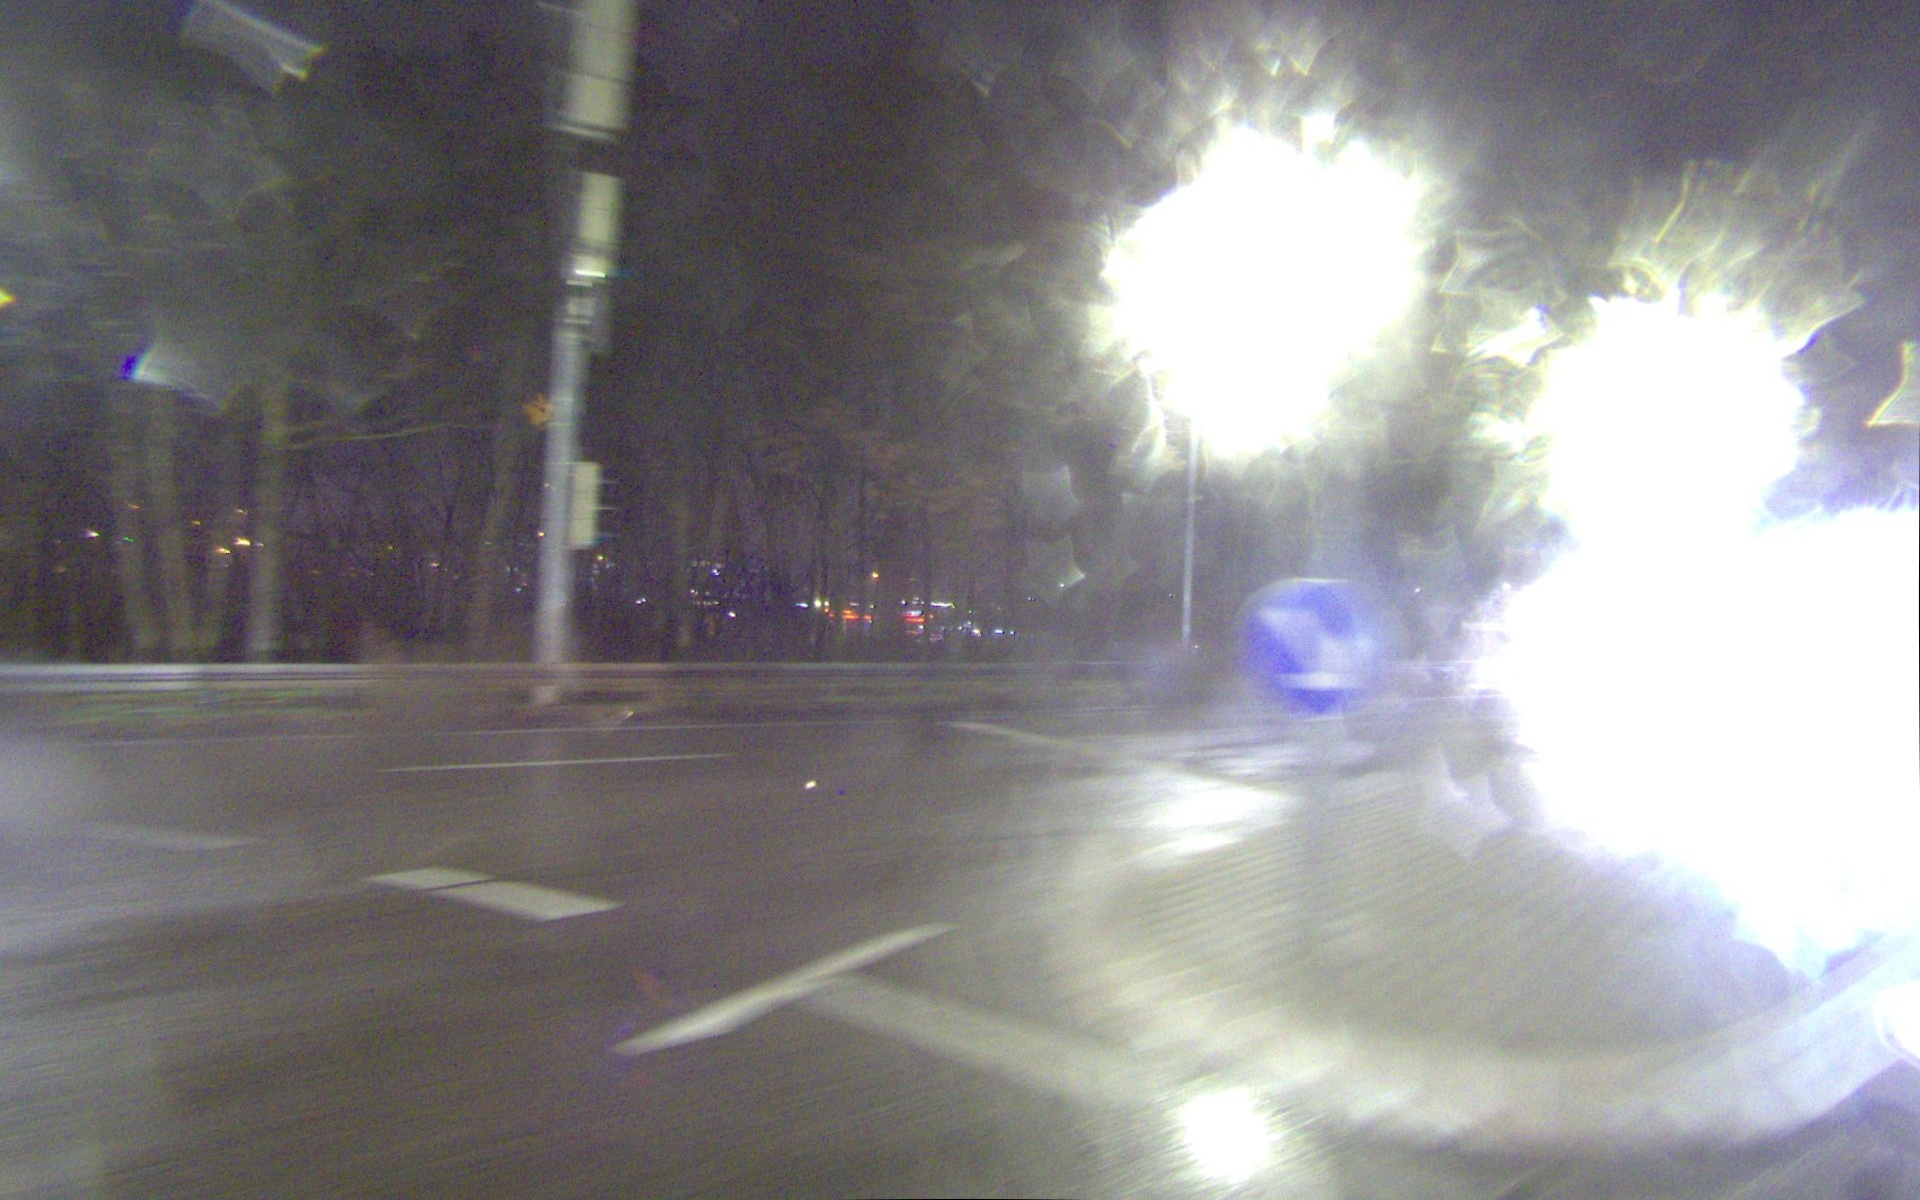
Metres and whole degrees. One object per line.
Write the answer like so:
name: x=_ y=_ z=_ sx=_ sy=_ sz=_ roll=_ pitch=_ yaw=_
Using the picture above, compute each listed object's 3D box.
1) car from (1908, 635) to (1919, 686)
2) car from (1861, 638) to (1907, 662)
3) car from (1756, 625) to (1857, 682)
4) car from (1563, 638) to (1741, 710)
car: x=40.112 y=2.485 z=40.973 sx=1.972 sy=2.040 sz=4.325 roll=-1 pitch=-2 yaw=42
car: x=67.965 y=3.662 z=73.929 sx=1.791 sy=1.639 sz=3.990 roll=3 pitch=0 yaw=33
car: x=26.930 y=1.628 z=31.912 sx=4.625 sy=1.628 sz=1.864 roll=1 pitch=0 yaw=-42
car: x=16.479 y=1.750 z=23.854 sx=4.610 sy=1.467 sz=1.813 roll=3 pitch=0 yaw=-33
